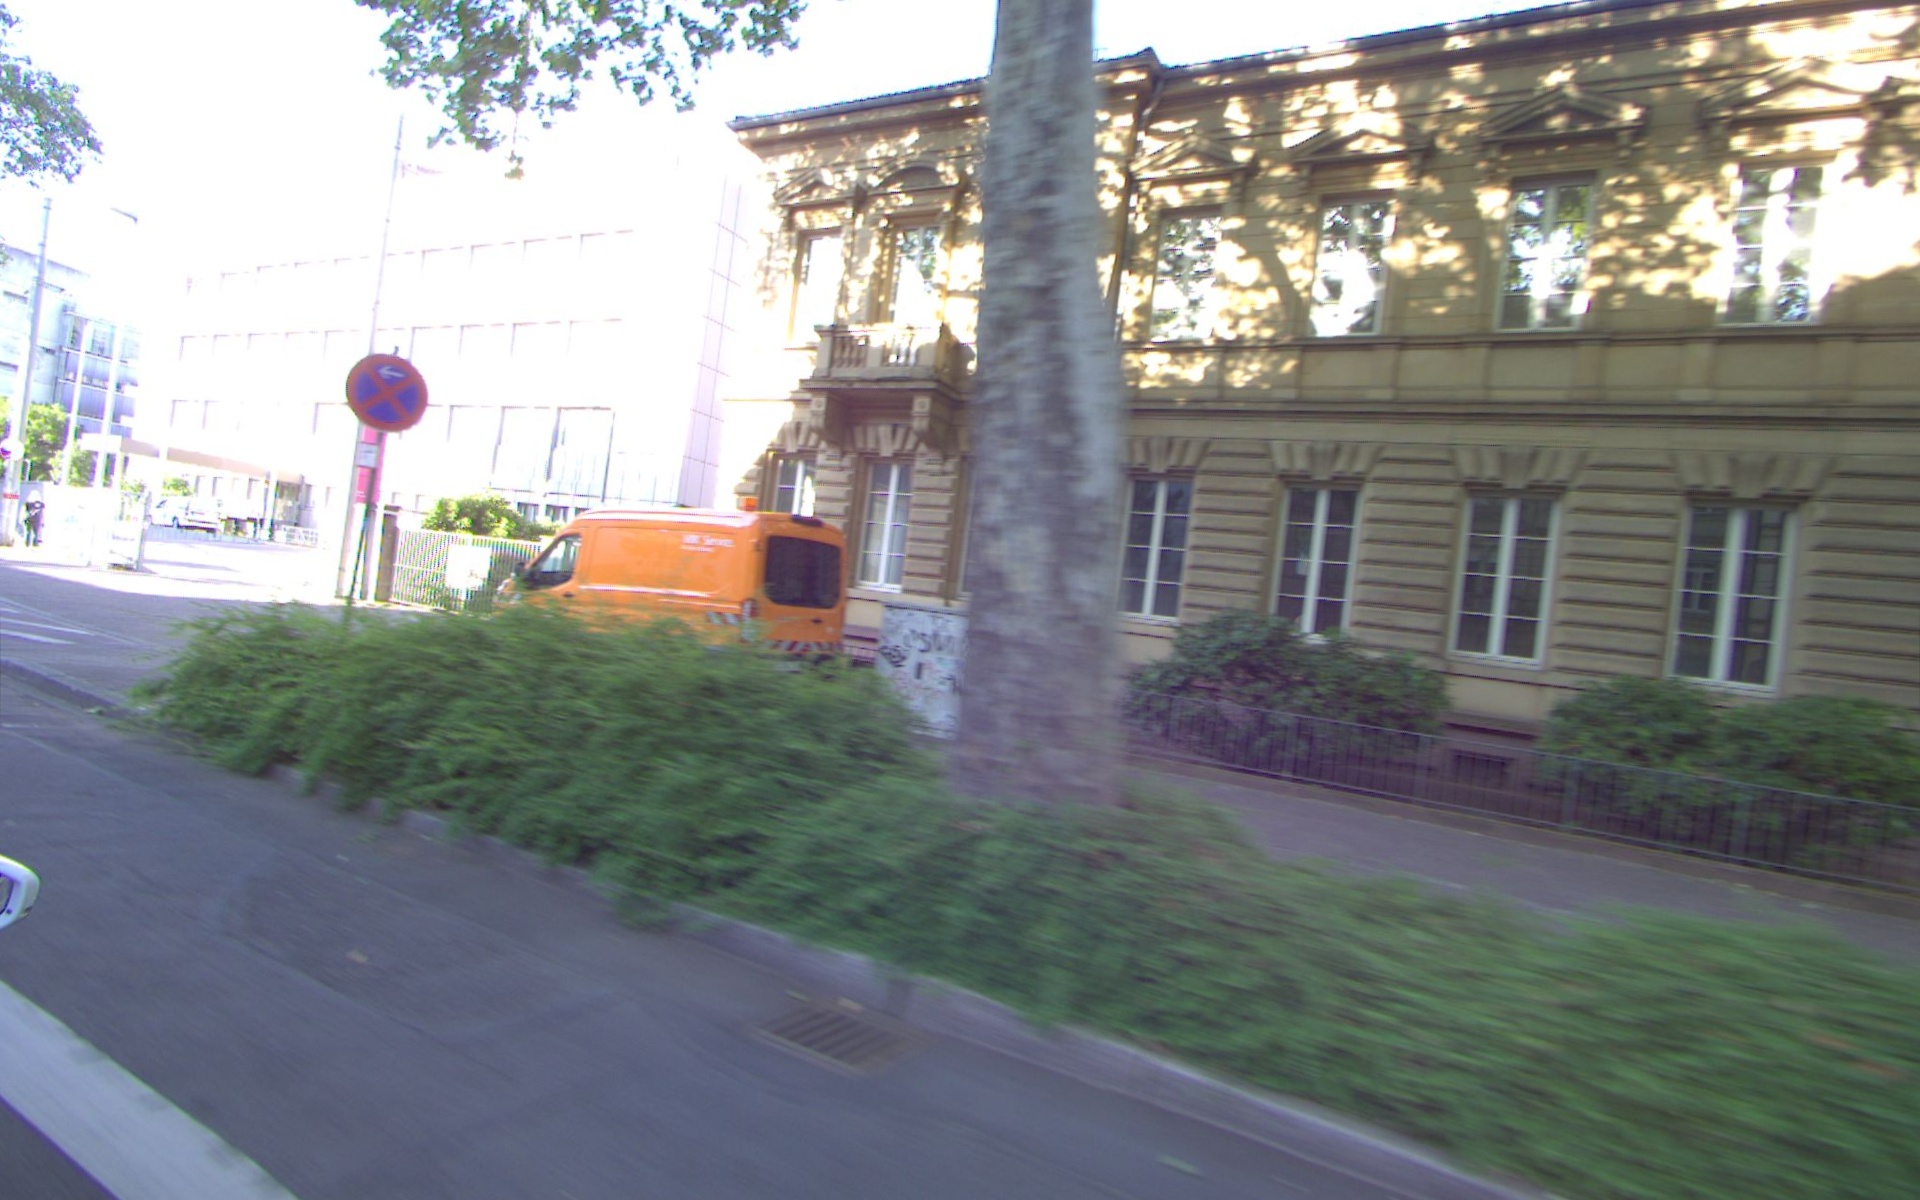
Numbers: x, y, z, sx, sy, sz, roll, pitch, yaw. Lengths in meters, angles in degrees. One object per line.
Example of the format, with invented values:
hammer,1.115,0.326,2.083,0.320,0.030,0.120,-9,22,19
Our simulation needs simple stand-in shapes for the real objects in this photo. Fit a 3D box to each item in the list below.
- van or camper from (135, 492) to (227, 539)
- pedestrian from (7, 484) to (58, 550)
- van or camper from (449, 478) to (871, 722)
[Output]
van or camper,-42.216,-4.593,54.517,4.913,1.932,1.985,7,0,28
pedestrian,-25.724,-2.293,27.917,0.690,1.704,0.923,7,0,-30
van or camper,-4.268,-0.083,13.906,5.675,2.590,2.040,7,-1,30
